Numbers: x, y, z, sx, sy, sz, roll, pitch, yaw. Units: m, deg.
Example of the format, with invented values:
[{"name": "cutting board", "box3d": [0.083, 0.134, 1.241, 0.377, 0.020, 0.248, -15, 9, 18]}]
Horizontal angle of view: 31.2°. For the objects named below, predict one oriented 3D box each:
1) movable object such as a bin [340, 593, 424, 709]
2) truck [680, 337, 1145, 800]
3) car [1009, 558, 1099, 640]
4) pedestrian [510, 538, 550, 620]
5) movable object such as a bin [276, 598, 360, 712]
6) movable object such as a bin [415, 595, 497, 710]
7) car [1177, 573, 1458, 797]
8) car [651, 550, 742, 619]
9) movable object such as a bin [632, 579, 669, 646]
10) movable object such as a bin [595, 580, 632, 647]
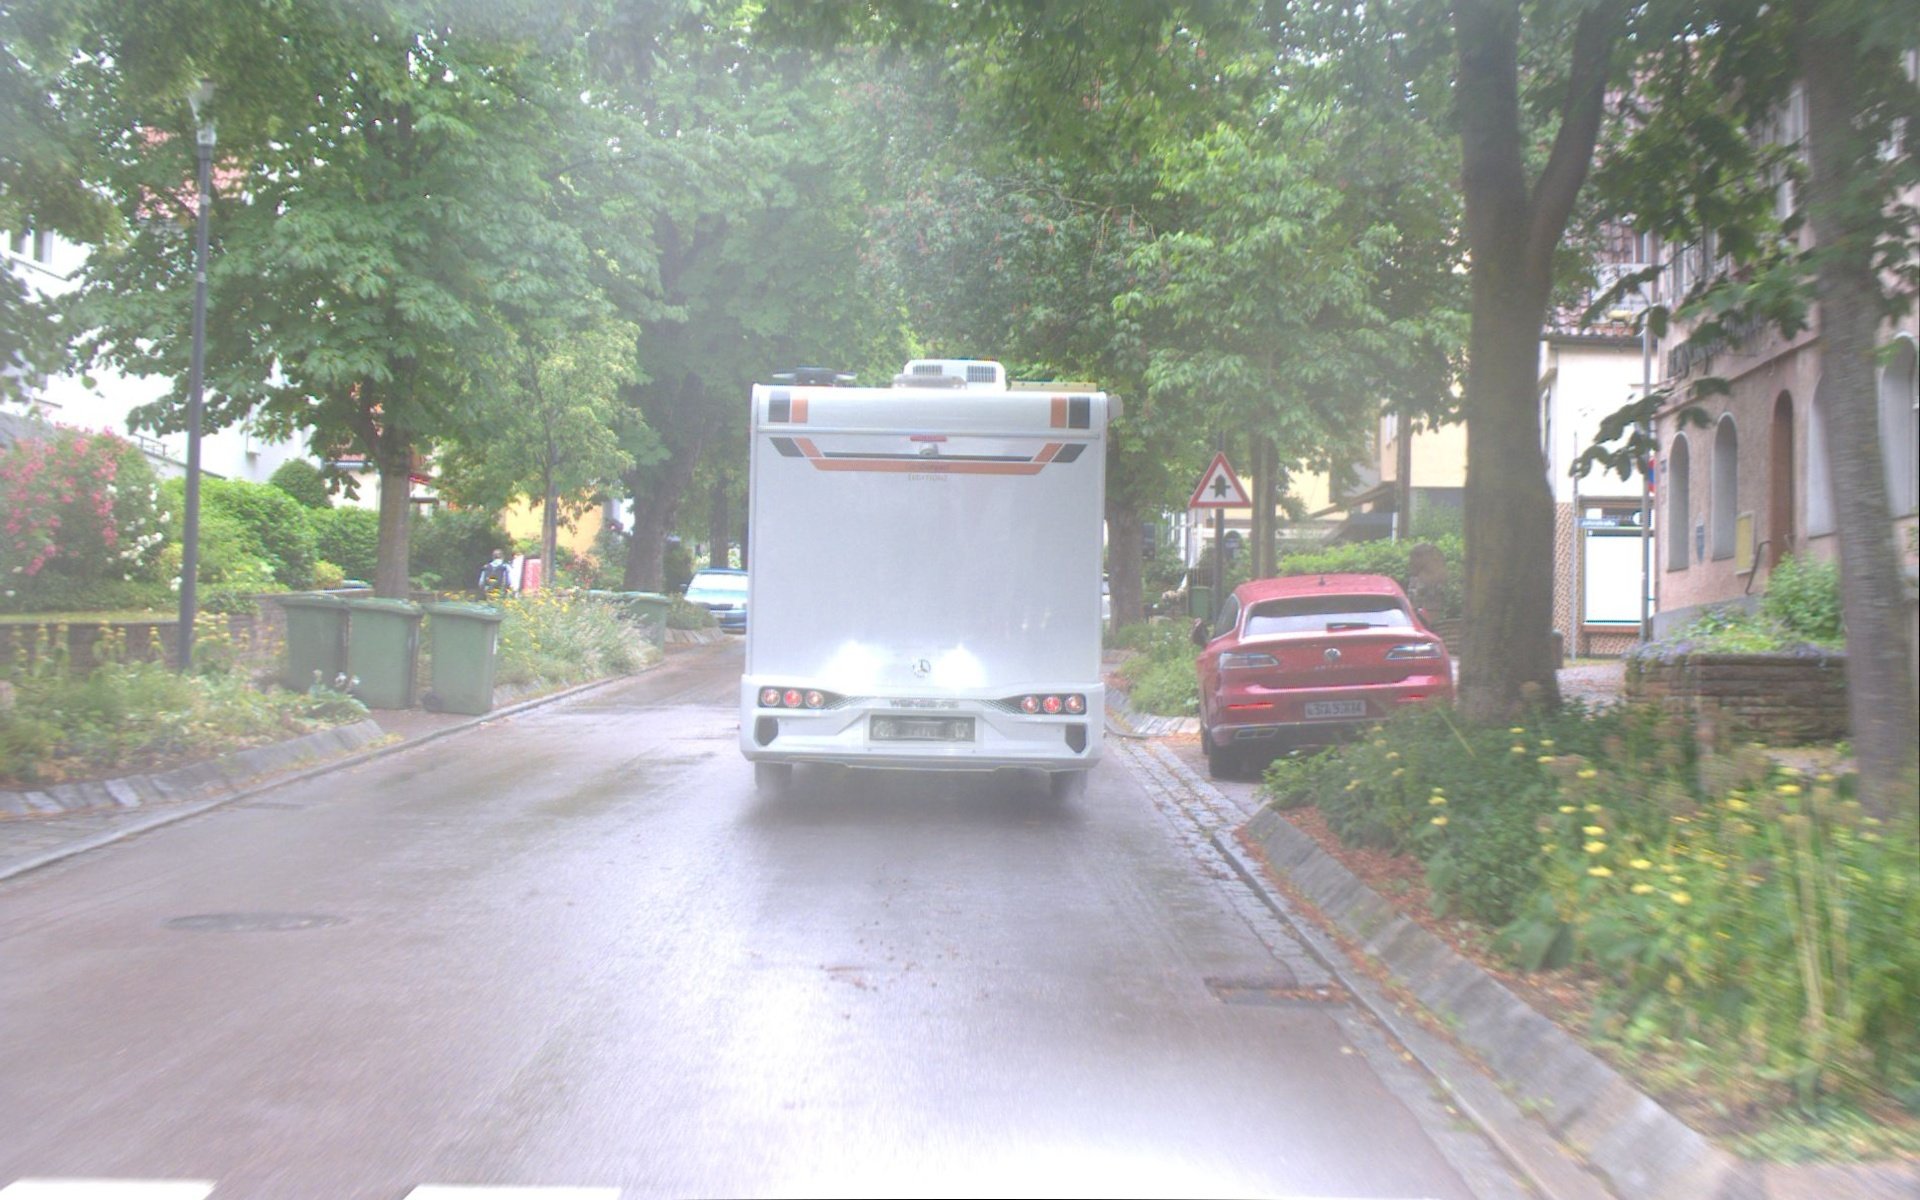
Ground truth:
[{"name": "movable object such as a bin", "box3d": [-5.606, 0.493, 33.381, 0.670, 1.101, 0.817, 1, 0, -1]}, {"name": "truck", "box3d": [-0.321, -0.182, 23.790, 2.805, 2.787, 6.107, 0, 0, -1]}, {"name": "car", "box3d": [1.793, -0.017, 66.323, 1.649, 1.536, 3.530, 0, 0, 0]}, {"name": "pedestrian", "box3d": [-9.629, -0.465, 77.004, 0.817, 1.838, 0.770, 0, 0, -1]}, {"name": "movable object such as a bin", "box3d": [-6.337, 0.539, 33.961, 0.670, 1.101, 0.817, 1, 0, -1]}, {"name": "movable object such as a bin", "box3d": [-4.883, 0.501, 33.356, 0.670, 1.091, 0.817, 1, 0, -1]}, {"name": "car", "box3d": [2.673, 0.584, 26.594, 1.855, 1.467, 4.365, 2, 1, 3]}, {"name": "car", "box3d": [-6.052, -0.335, 78.700, 1.797, 1.547, 4.001, 0, 0, -8]}, {"name": "movable object such as a bin", "box3d": [-4.857, 0.193, 54.001, 0.528, 1.055, 0.562, 0, 0, 0]}, {"name": "movable object such as a bin", "box3d": [-5.436, 0.214, 53.979, 0.528, 1.055, 0.562, 0, 0, 0]}]
